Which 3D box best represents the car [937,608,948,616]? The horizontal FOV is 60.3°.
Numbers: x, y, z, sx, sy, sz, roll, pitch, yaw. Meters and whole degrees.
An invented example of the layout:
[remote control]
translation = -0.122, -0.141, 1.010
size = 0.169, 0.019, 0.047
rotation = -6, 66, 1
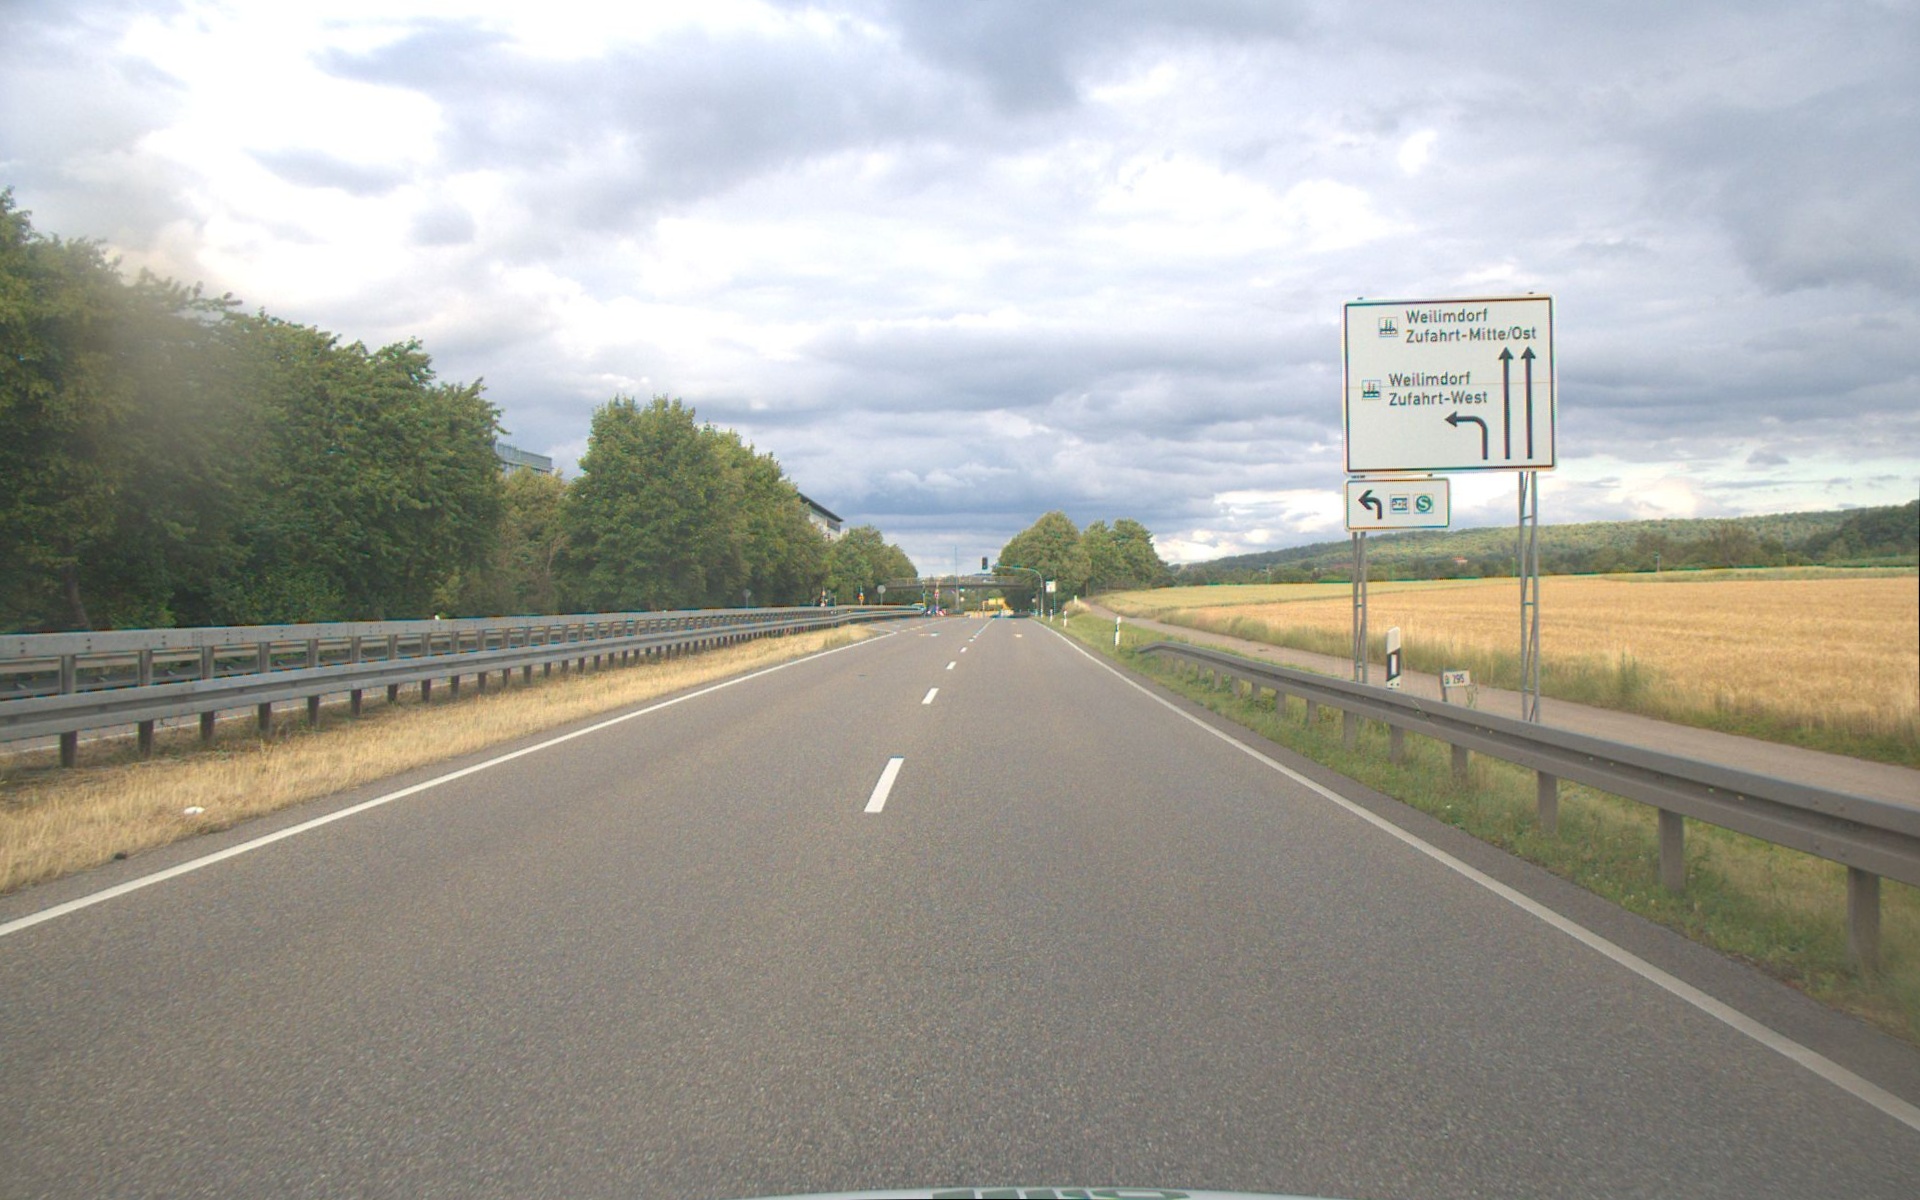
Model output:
[car]
translation = -2.278, 1.563, 218.749
size = 1.329, 1.111, 2.922
rotation = 0, 0, 2
